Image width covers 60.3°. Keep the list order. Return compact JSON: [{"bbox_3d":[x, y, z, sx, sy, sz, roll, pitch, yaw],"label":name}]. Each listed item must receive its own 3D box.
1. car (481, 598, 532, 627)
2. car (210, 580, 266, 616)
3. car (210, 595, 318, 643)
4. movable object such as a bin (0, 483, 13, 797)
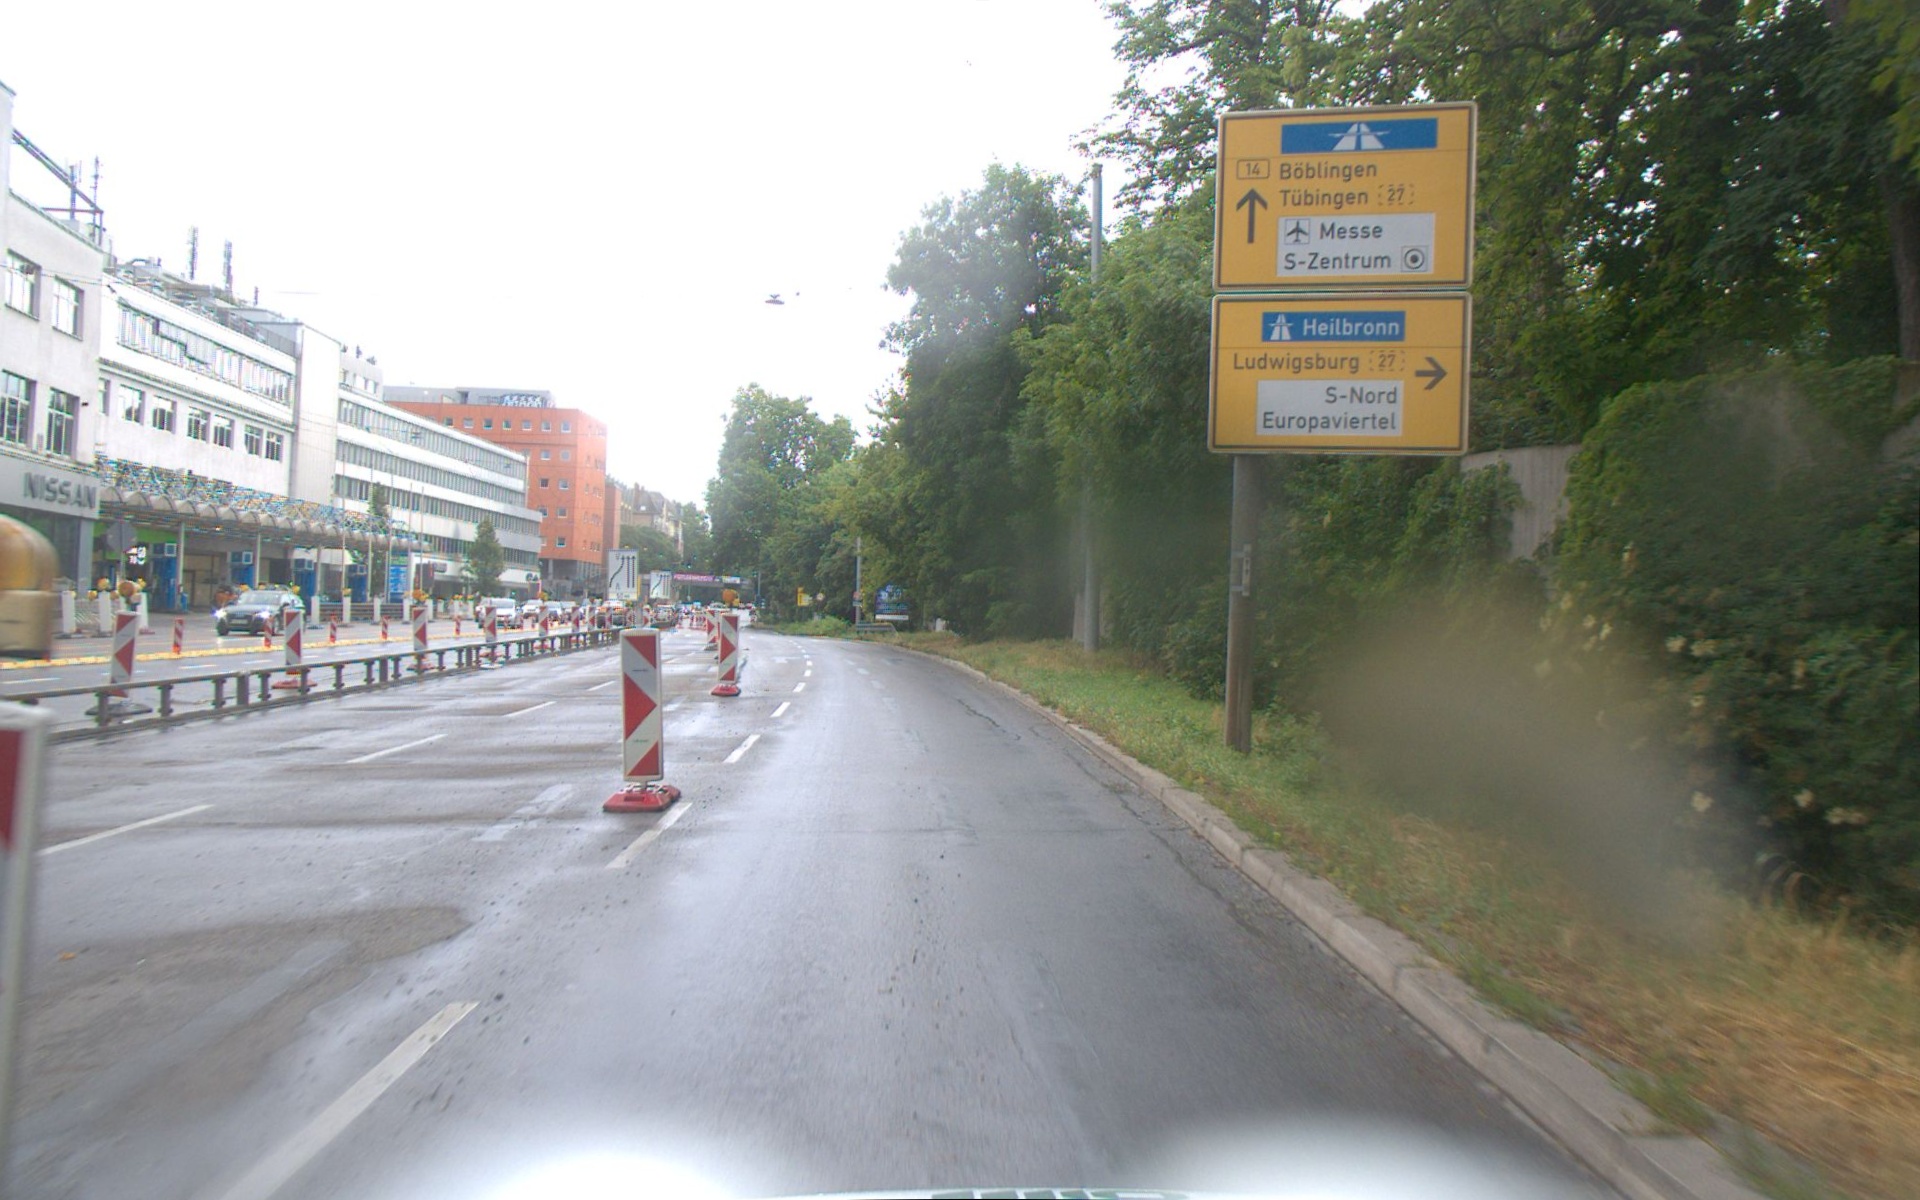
[{"bbox_3d":[-22.383,0.598,81.812,1.745,1.405,4.450,1,0,-6],"label":"car"},{"bbox_3d":[-37.921,-0.094,86.837,1.786,1.684,3.948,4,-1,-37],"label":"car"},{"bbox_3d":[-22.145,0.589,52.812,1.726,1.430,4.249,1,0,-2],"label":"car"},{"bbox_3d":[-7.456,0.286,9.953,1.681,2.187,3.348,0,0,-2],"label":"movable object such as a bin"}]
